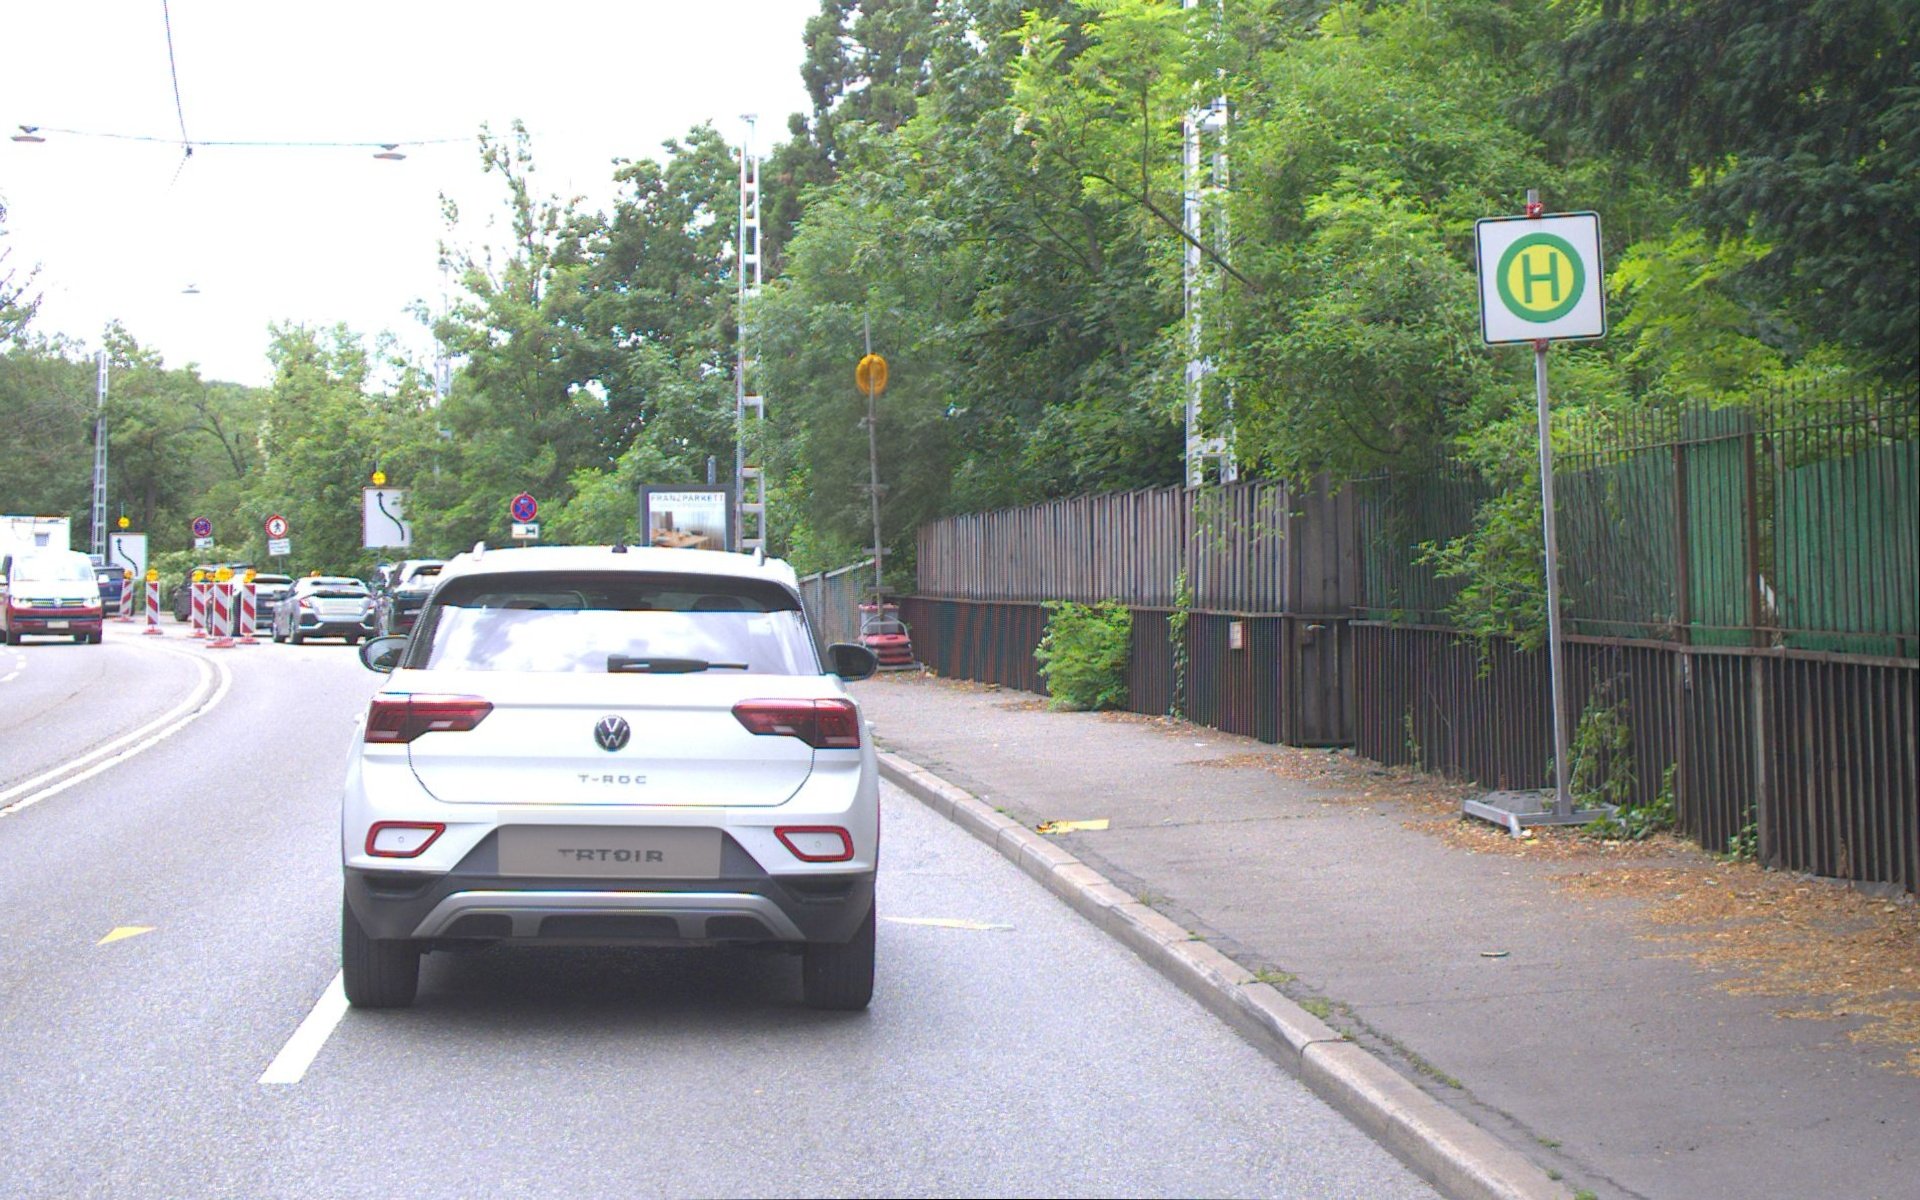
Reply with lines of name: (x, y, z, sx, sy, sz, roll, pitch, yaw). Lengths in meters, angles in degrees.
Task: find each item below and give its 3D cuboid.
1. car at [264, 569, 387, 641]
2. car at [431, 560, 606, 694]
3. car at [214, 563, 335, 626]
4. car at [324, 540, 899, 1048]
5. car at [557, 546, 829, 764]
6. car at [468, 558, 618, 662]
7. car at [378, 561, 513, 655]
car: (-13.338, 0.104, 72.062, 1.993, 1.445, 4.151, -1, 0, -18)
car: (-5.159, 0.294, 39.845, 1.757, 1.466, 3.796, 0, 0, -11)
car: (-16.357, -0.109, 81.922, 1.993, 1.445, 4.151, -1, 0, -23)
car: (-1.340, 0.592, 12.498, 1.757, 1.550, 3.796, 0, 0, -8)
car: (-2.190, 0.405, 27.327, 1.757, 1.604, 3.796, 0, 0, -10)
car: (-6.130, 0.153, 50.209, 1.993, 1.409, 4.151, -2, 0, -9)
car: (-8.996, 0.104, 59.855, 1.993, 1.551, 4.152, 0, 1, -13)
